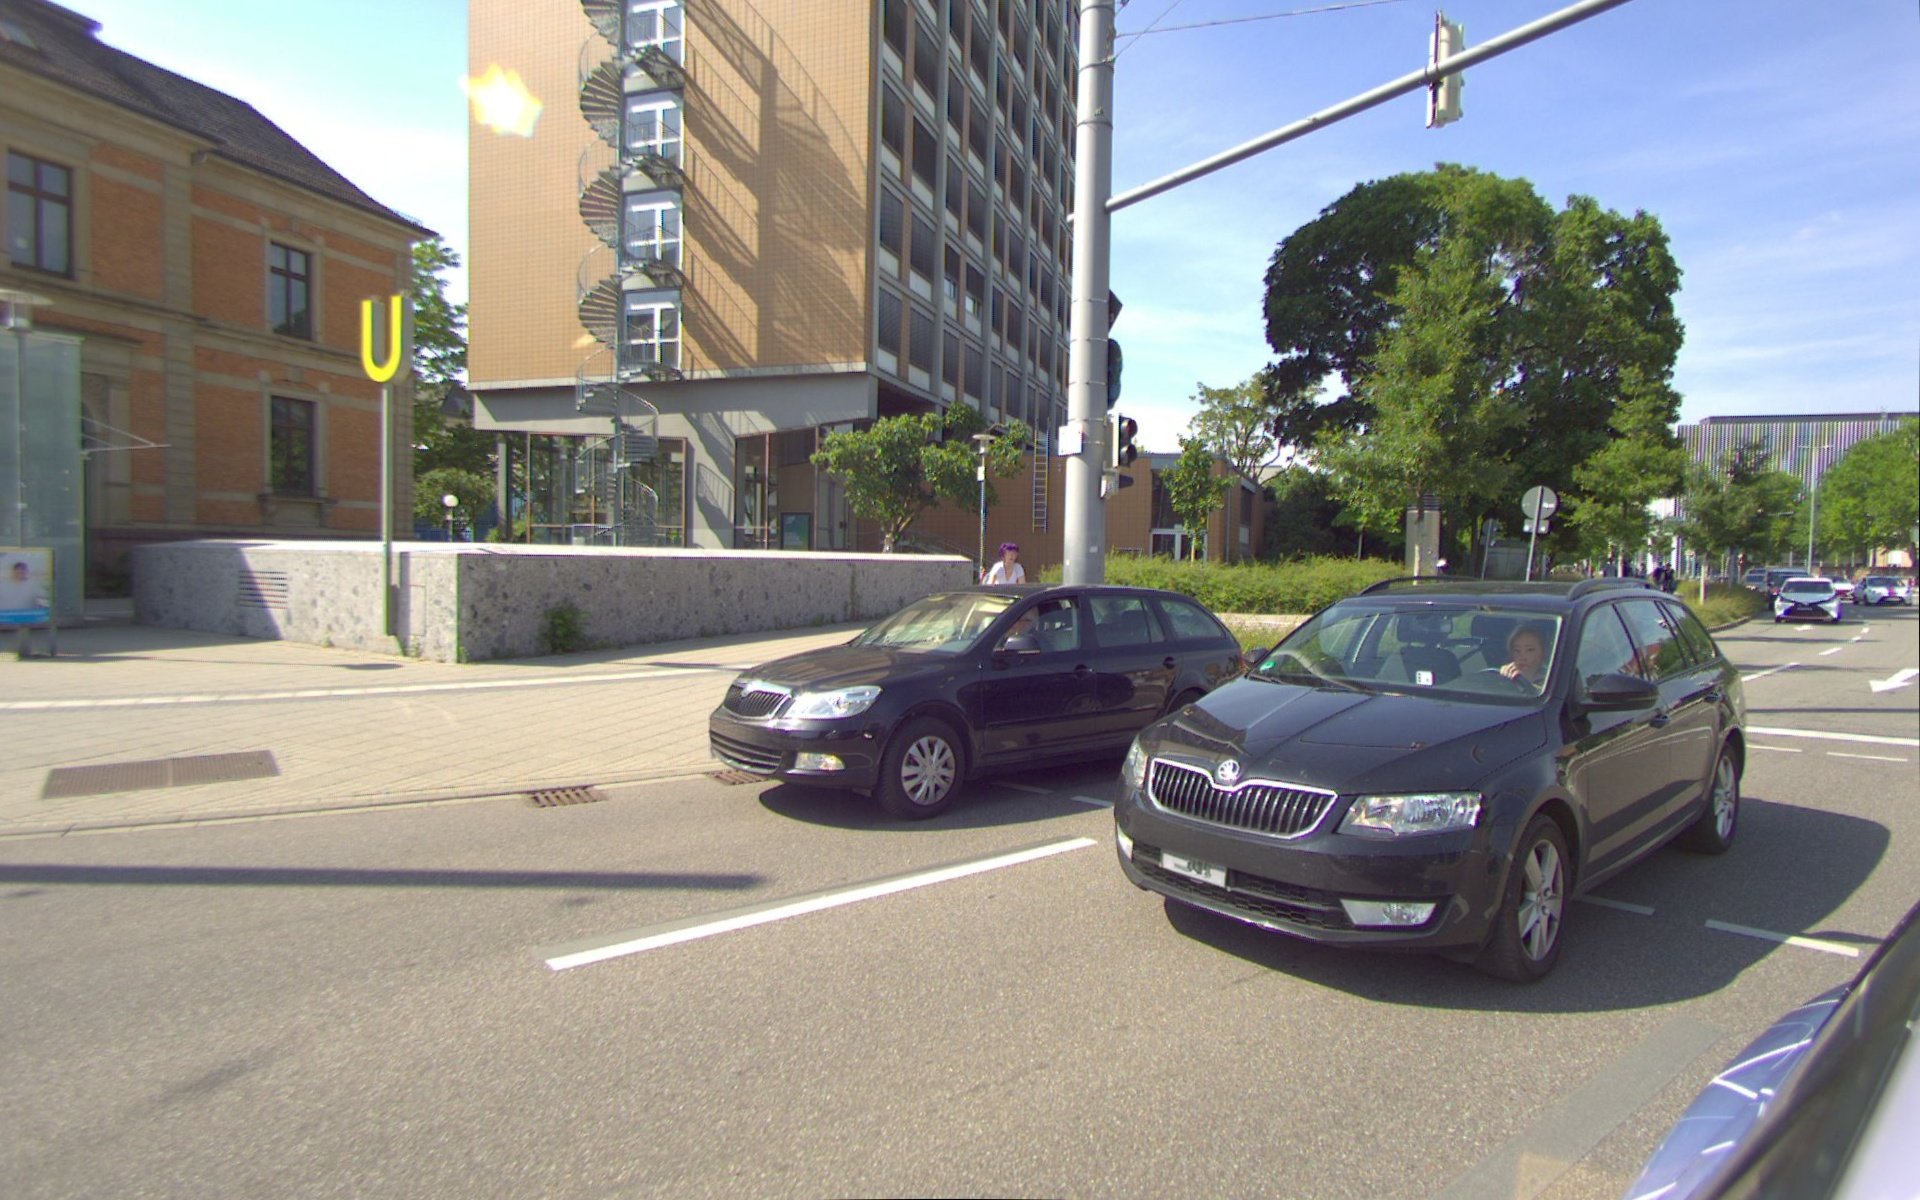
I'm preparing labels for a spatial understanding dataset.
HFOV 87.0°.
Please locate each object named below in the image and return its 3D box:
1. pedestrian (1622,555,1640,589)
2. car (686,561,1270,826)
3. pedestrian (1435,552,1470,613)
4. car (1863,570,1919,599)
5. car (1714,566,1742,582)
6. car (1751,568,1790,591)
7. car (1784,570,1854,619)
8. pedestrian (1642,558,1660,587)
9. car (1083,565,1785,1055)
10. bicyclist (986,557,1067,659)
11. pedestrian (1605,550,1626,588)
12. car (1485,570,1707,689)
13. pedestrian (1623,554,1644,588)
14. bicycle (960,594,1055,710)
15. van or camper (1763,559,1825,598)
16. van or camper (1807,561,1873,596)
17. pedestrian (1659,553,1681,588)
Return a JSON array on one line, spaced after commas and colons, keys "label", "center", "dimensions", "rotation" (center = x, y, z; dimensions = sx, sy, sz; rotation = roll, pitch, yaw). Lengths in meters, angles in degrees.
[{"label": "pedestrian", "center": [35.212, -1.469, 53.112], "dimensions": [0.638, 1.785, 0.470], "rotation": [3, 4, 28]}, {"label": "car", "center": [0.344, 0.535, 7.593], "dimensions": [4.319, 1.448, 1.704], "rotation": [1, -1, -40]}, {"label": "pedestrian", "center": [13.765, -0.502, 28.280], "dimensions": [0.719, 1.684, 0.592], "rotation": [-2, 4, -41]}, {"label": "car", "center": [44.583, -0.741, 48.315], "dimensions": [1.478, 1.310, 3.451], "rotation": [0, 1, 29]}, {"label": "car", "center": [67.264, -2.277, 88.709], "dimensions": [1.478, 1.310, 3.450], "rotation": [0, 2, 30]}, {"label": "car", "center": [50.693, -1.307, 63.317], "dimensions": [1.480, 1.309, 3.446], "rotation": [2, 3, 33]}, {"label": "car", "center": [28.105, -0.219, 33.174], "dimensions": [1.675, 1.493, 3.706], "rotation": [0, 2, 40]}, {"label": "pedestrian", "center": [35.978, -1.460, 52.715], "dimensions": [0.638, 1.464, 0.564], "rotation": [3, 4, 28]}, {"label": "car", "center": [2.792, 0.560, 5.242], "dimensions": [4.699, 1.453, 1.633], "rotation": [-2, 3, -42]}, {"label": "bicyclist", "center": [0.721, 0.074, 11.269], "dimensions": [0.702, 1.041, 0.918], "rotation": [1, 4, -7]}, {"label": "pedestrian", "center": [33.261, -1.581, 51.379], "dimensions": [0.719, 1.859, 0.643], "rotation": [-2, 4, -41]}, {"label": "car", "center": [9.395, 0.304, 14.788], "dimensions": [4.452, 1.453, 1.633], "rotation": [-2, 3, -42]}, {"label": "pedestrian", "center": [33.751, -1.459, 50.734], "dimensions": [0.719, 1.646, 0.643], "rotation": [-2, 4, -41]}, {"label": "bicycle", "center": [0.480, 0.525, 11.203], "dimensions": [0.702, 1.027, 1.923], "rotation": [1, 4, -7]}, {"label": "van or camper", "center": [43.004, -1.133, 52.257], "dimensions": [1.716, 1.911, 4.870], "rotation": [0, 1, 31]}, {"label": "van or camper", "center": [51.141, -1.274, 58.901], "dimensions": [1.904, 1.911, 4.872], "rotation": [2, 3, 29]}, {"label": "pedestrian", "center": [35.312, -1.460, 50.342], "dimensions": [0.739, 1.693, 0.643], "rotation": [-2, 4, -41]}]
